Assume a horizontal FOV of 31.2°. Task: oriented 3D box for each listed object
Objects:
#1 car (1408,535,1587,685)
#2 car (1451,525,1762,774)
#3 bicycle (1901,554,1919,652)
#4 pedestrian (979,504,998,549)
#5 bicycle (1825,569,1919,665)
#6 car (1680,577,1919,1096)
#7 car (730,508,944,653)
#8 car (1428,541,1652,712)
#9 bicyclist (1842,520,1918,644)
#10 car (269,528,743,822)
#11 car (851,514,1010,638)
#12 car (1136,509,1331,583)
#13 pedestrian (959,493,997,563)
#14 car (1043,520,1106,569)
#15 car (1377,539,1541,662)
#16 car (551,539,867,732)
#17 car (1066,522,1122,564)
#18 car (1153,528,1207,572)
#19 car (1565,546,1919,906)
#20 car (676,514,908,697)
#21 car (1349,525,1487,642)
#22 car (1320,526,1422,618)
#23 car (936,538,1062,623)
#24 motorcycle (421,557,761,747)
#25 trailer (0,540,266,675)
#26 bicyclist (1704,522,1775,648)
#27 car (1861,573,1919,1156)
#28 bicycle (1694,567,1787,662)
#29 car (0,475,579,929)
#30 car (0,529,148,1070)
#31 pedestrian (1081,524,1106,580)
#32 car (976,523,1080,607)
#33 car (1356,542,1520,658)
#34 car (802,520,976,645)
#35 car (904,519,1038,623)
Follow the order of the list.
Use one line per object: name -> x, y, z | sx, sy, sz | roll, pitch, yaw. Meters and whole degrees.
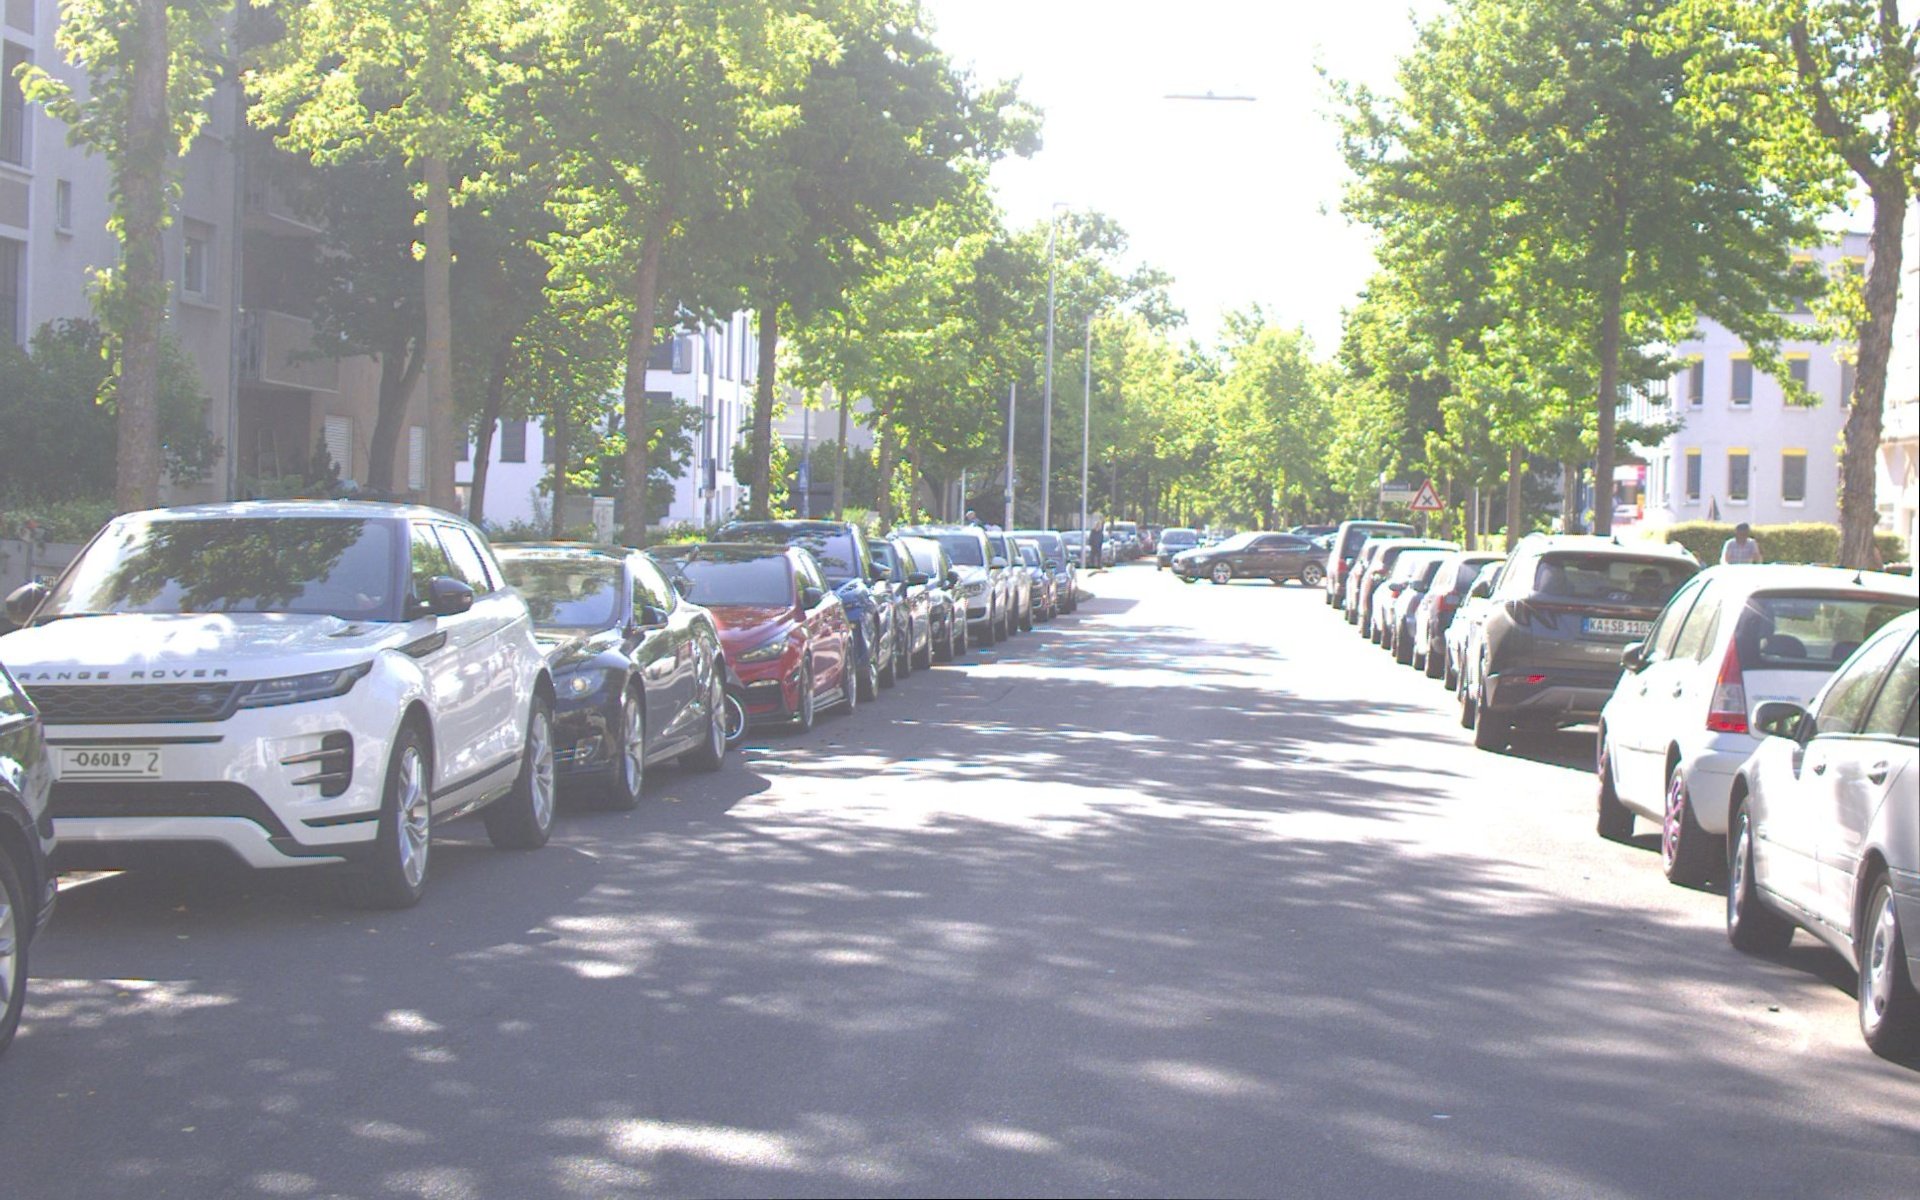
car -> 6.225, 0.072, 40.208 | 1.693, 1.535, 4.440 | 3, 2, 5
car -> 4.978, 0.297, 27.112 | 1.926, 1.646, 5.094 | 4, 2, 6
bicycle -> 12.688, 0.064, 43.687 | 0.838, 1.253, 2.231 | 2, 1, 1
pedestrian -> 1.224, -3.178, 148.475 | 0.762, 1.894, 0.819 | 1, 1, -2
bicycle -> 11.687, 0.205, 43.933 | 0.684, 1.149, 2.403 | 1, 1, 2
car -> 3.754, 0.714, 11.859 | 1.711, 1.406, 4.861 | 3, 2, 3
car -> -1.261, -0.239, 36.998 | 1.829, 1.448, 4.122 | 1, 1, 4
car -> 5.761, 0.213, 34.588 | 1.751, 1.449, 4.461 | 4, 2, 5
bicyclist -> 11.700, -0.241, 43.729 | 0.676, 1.548, 1.022 | 1, 1, 1
car -> -2.489, 0.340, 19.993 | 1.728, 1.472, 4.618 | -2, 1, 5
car -> -0.354, -0.358, 47.307 | 1.811, 1.590, 4.232 | 1, 1, 4
car -> 7.598, -1.490, 95.453 | 5.069, 1.815, 2.000 | 2, 1, -29
pedestrian -> 0.532, -2.093, 99.697 | 0.859, 2.007, 0.980 | 2, 1, 13
car -> 4.074, -1.981, 121.630 | 1.994, 1.665, 4.000 | 2, 1, 5
car -> 6.470, -0.026, 44.896 | 1.789, 1.448, 3.781 | 3, 1, 4
car -> -1.860, 0.216, 26.745 | 1.780, 1.374, 4.262 | 0, 1, 5
car -> 5.338, -2.277, 136.862 | 1.994, 1.579, 4.000 | 2, 1, 5
car -> 8.236, -1.890, 128.837 | 1.783, 1.603, 4.000 | 1, 1, 0
car -> 4.210, 0.558, 17.565 | 1.654, 1.527, 3.969 | 4, 2, 3
car -> -1.492, 0.003, 32.053 | 1.789, 1.561, 4.465 | -1, 1, 2
car -> 7.517, -0.312, 56.790 | 1.907, 1.693, 4.313 | 5, 2, 4
car -> 9.166, -0.658, 76.990 | 1.971, 1.942, 4.985 | 2, 1, 4
car -> 0.735, -0.377, 61.512 | 1.994, 1.448, 4.262 | -1, 1, 4
motorcycle -> -2.526, 0.345, 23.638 | 2.285, 1.266, 0.808 | 0, 1, -5
trailer -> -7.351, 0.031, 29.479 | 1.789, 1.030, 3.280 | 2, 1, 7
bicyclist -> 10.105, -0.206, 44.592 | 0.677, 1.604, 0.922 | 1, 1, 1
car -> 3.271, 0.768, 6.893 | 1.821, 1.464, 4.909 | 3, 2, 3
bicycle -> 10.092, 0.172, 44.524 | 0.684, 1.149, 2.403 | 1, 1, 2
car -> -2.890, 0.334, 14.665 | 1.728, 1.612, 4.366 | -2, 1, 4
car -> -3.514, 0.574, 8.134 | 1.728, 1.442, 4.820 | -1, 1, 4
pedestrian -> 4.573, -1.662, 118.018 | 0.715, 1.894, 0.837 | 1, 1, -5
car -> 1.373, -0.710, 67.544 | 1.840, 1.589, 4.262 | 0, 1, 4
car -> 6.959, -0.037, 50.469 | 1.897, 1.469, 4.699 | 5, 1, 3
car -> -0.819, -0.244, 41.724 | 1.762, 1.439, 3.908 | 0, 1, 4
car -> 0.204, -0.464, 52.811 | 1.710, 1.539, 3.929 | 0, 1, 5
